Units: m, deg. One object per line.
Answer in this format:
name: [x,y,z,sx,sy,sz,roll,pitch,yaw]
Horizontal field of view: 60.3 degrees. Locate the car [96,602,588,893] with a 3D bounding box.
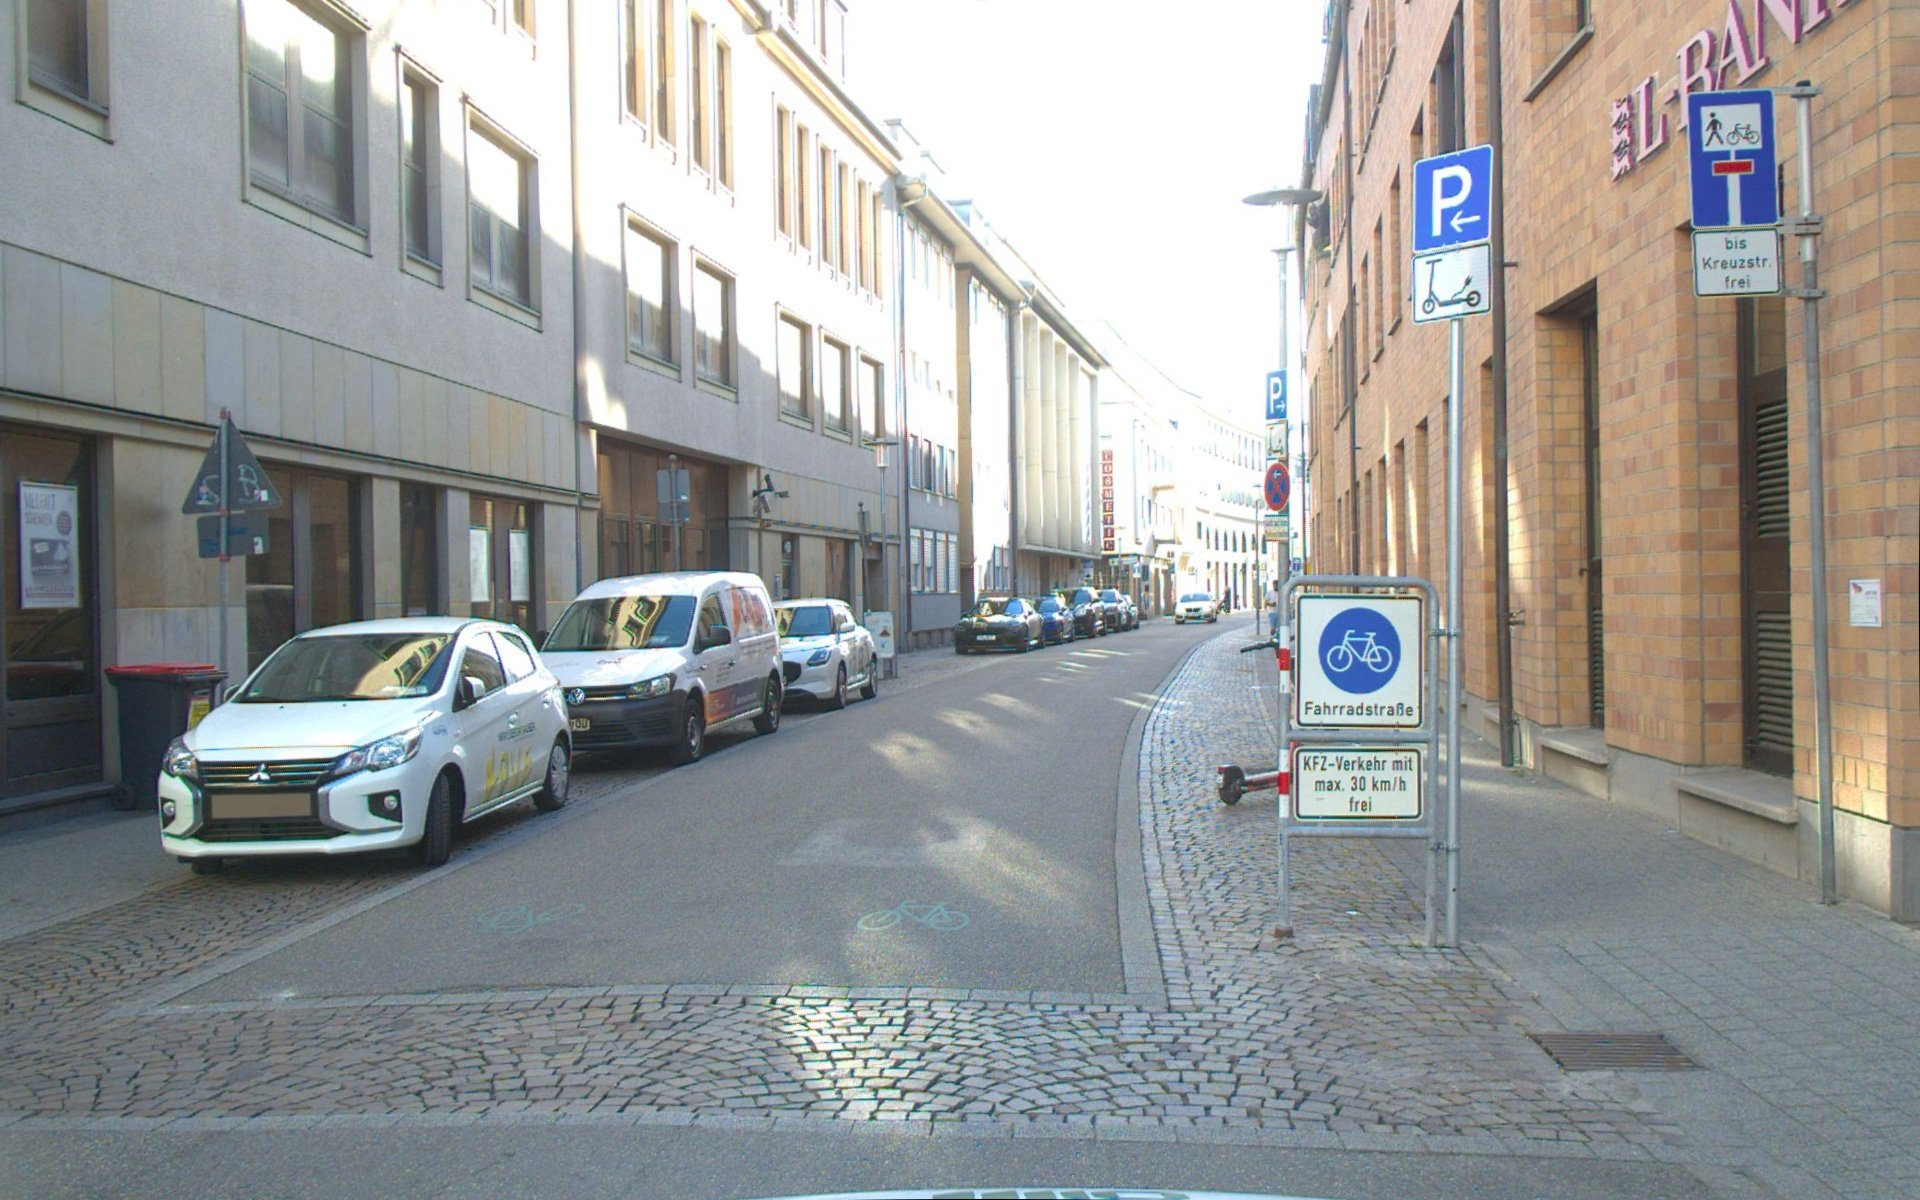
car: [-3.887,0.830,11.148,1.701,1.518,3.801,-3,0,2]

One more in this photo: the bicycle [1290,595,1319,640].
bicycle: [9.232,0.452,44.366,0.538,1.122,1.984,-4,0,7]

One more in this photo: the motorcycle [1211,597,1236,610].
motorcycle: [18.269,0.261,114.739,1.655,0.874,0.595,1,0,18]

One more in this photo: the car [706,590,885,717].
car: [-2.222,0.688,23.344,1.634,1.548,3.779,-3,0,7]

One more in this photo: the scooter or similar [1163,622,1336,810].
scooter or similar: [2.145,0.817,12.169,1.407,1.257,0.530,-1,1,-44]

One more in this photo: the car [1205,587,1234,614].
car: [15.787,0.006,100.527,1.604,1.544,4.164,-2,0,11]

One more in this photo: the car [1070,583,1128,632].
car: [5.362,0.255,63.364,1.849,1.772,4.394,-2,0,10]

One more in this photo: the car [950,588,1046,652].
car: [1.076,0.496,43.973,1.849,1.556,4.733,-2,0,9]

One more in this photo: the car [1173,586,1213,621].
car: [10.818,0.135,76.539,1.678,1.544,4.164,-2,0,9]

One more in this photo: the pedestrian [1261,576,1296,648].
pedestrian: [7.897,0.298,41.076,0.744,1.746,0.822,-3,0,9]

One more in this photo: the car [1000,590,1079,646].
car: [2.466,0.513,50.112,1.849,1.556,4.343,-2,0,9]

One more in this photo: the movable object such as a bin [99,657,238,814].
movable object such as a bin: [-5.914,1.000,12.388,0.721,1.120,0.591,1,0,4]

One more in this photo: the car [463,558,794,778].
car: [-3.211,0.591,17.117,1.859,1.890,4.737,-3,0,7]

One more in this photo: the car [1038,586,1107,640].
car: [3.853,0.407,55.896,1.849,1.705,4.557,-2,0,9]
